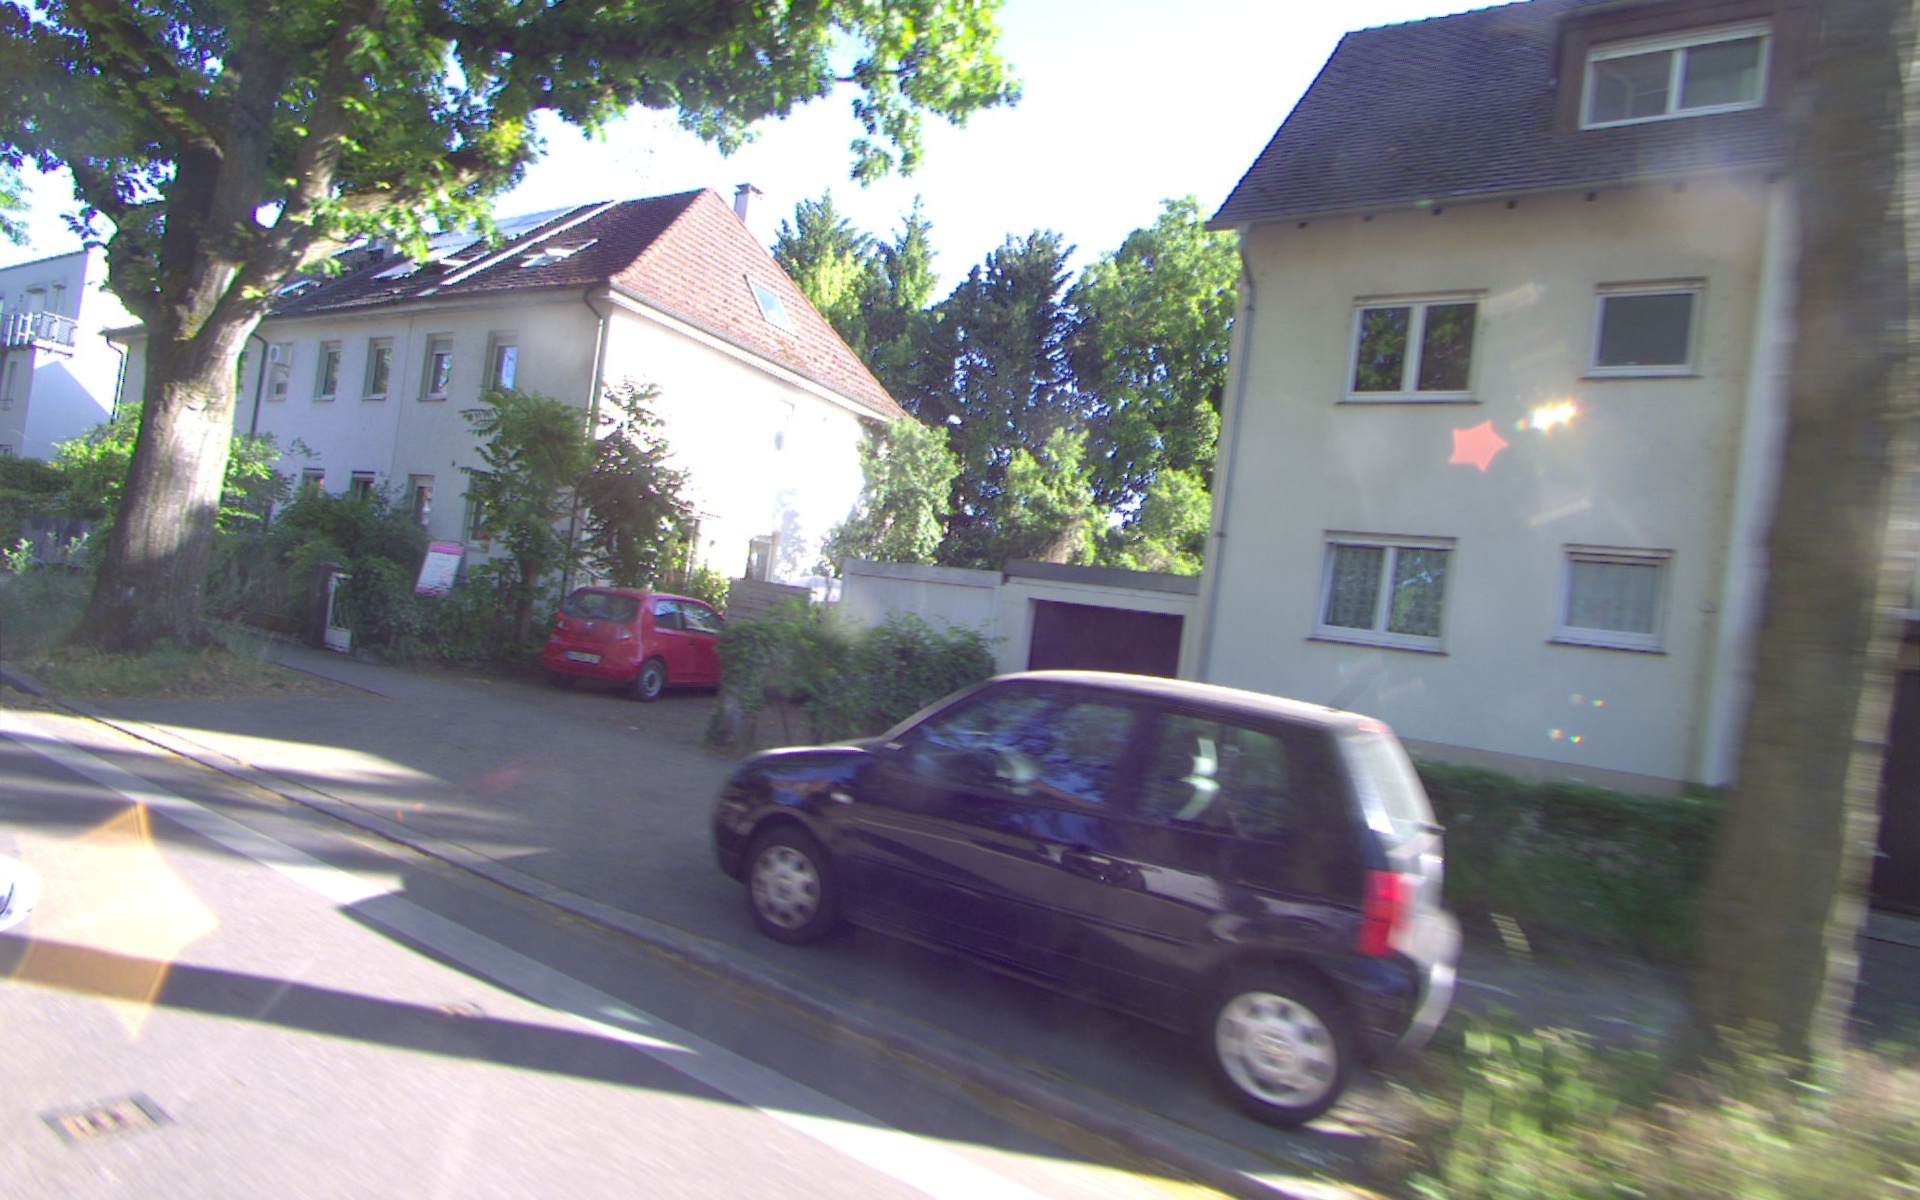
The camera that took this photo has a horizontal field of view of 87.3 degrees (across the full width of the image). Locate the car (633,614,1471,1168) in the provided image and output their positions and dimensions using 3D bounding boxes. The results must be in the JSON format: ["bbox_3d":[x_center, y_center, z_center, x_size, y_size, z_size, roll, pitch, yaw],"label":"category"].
[{"bbox_3d":[0.341,1.003,4.883,3.584,1.415,1.628,7,1,31],"label":"car"}]

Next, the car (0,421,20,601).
[{"bbox_3d":[-17.206,-1.670,15.627,5.492,2.686,2.248,7,0,31],"label":"car"}]

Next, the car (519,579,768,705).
[{"bbox_3d":[-4.500,0.630,14.828,1.702,1.453,3.410,7,-1,19],"label":"car"}]
